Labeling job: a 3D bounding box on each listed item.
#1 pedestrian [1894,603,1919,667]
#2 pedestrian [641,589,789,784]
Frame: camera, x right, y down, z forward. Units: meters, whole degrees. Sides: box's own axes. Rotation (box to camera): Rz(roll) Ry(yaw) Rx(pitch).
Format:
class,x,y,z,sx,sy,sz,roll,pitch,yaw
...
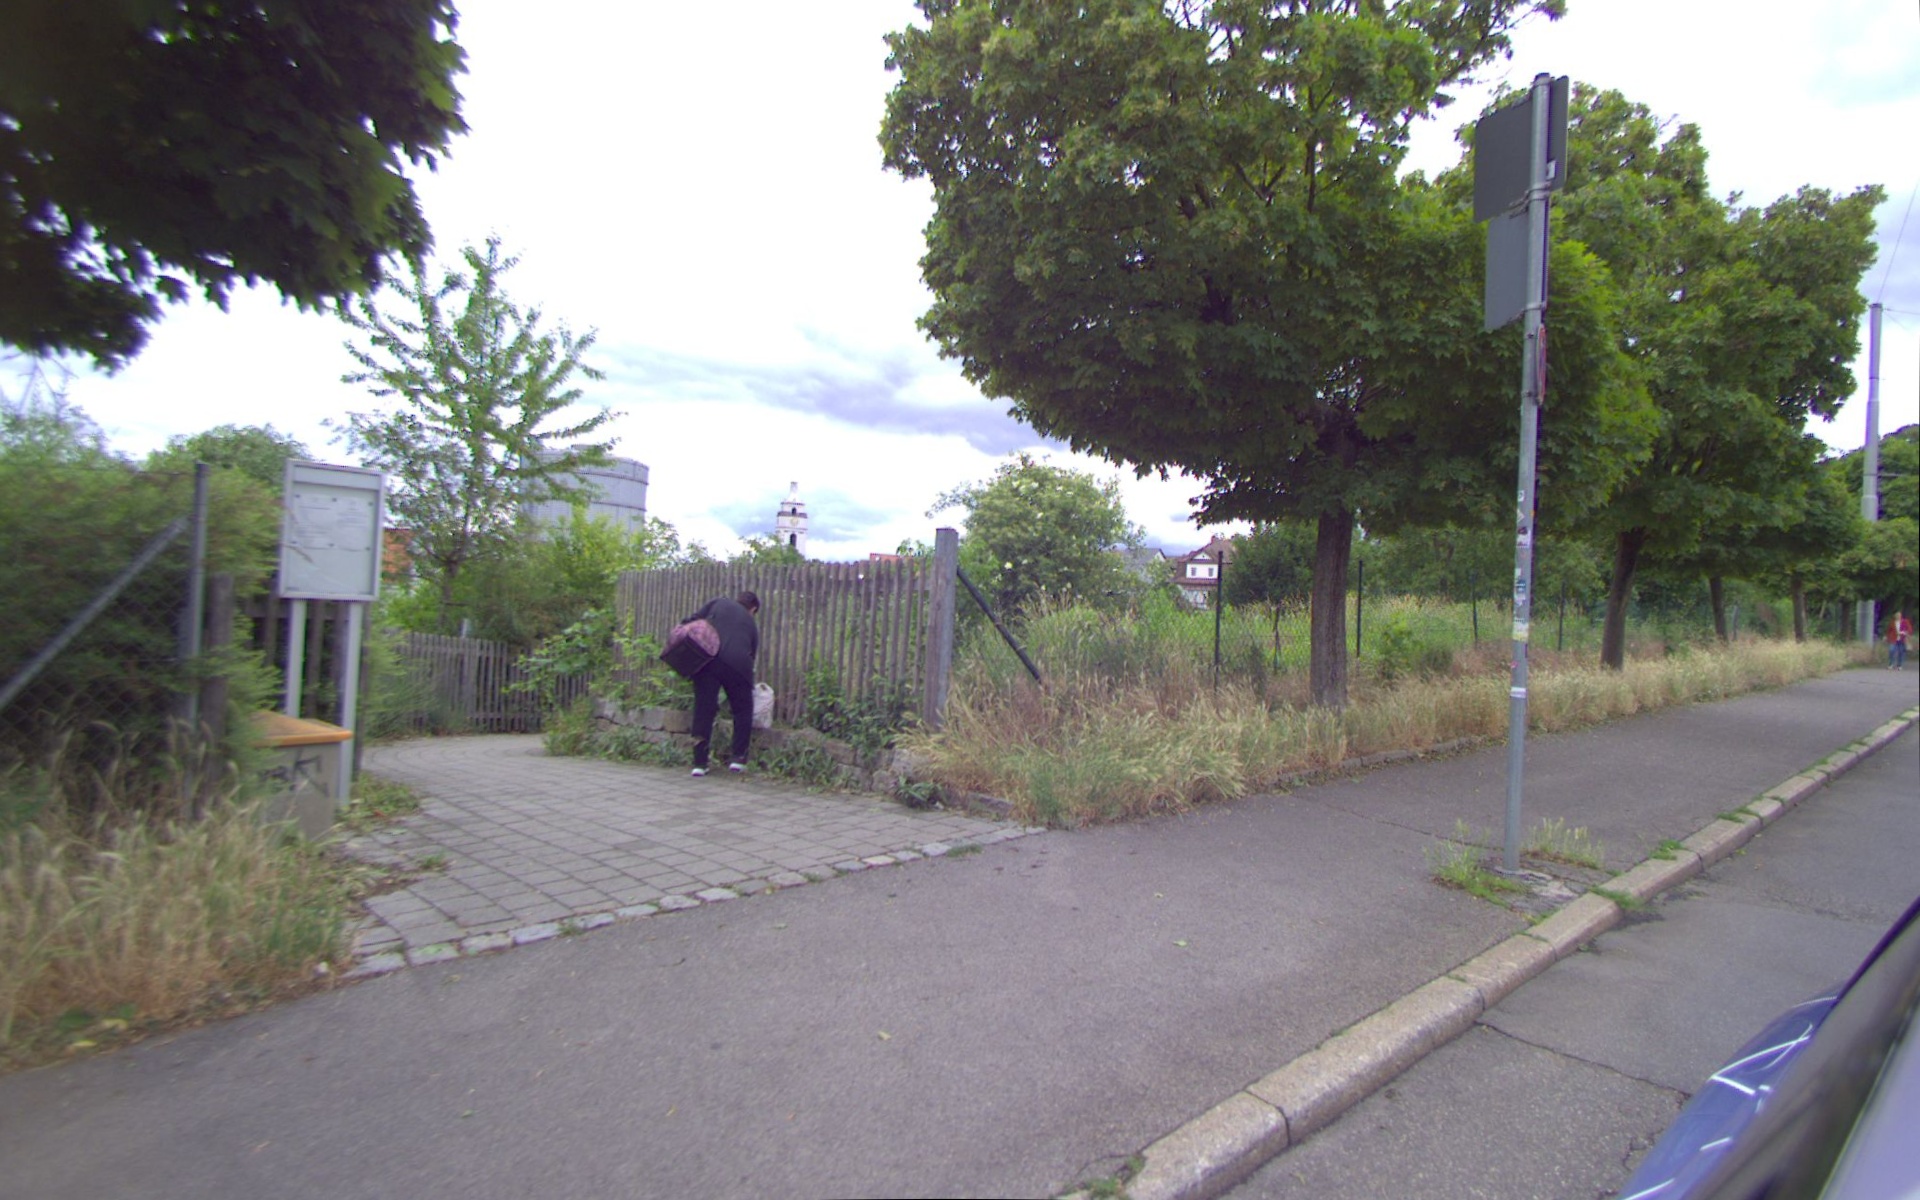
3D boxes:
class,x,y,z,sx,sy,sz,roll,pitch,yaw
pedestrian,25.231,0.923,26.728,0.706,1.641,0.716,1,1,-41
pedestrian,-1.816,0.593,7.492,0.794,1.325,0.746,1,1,-40
